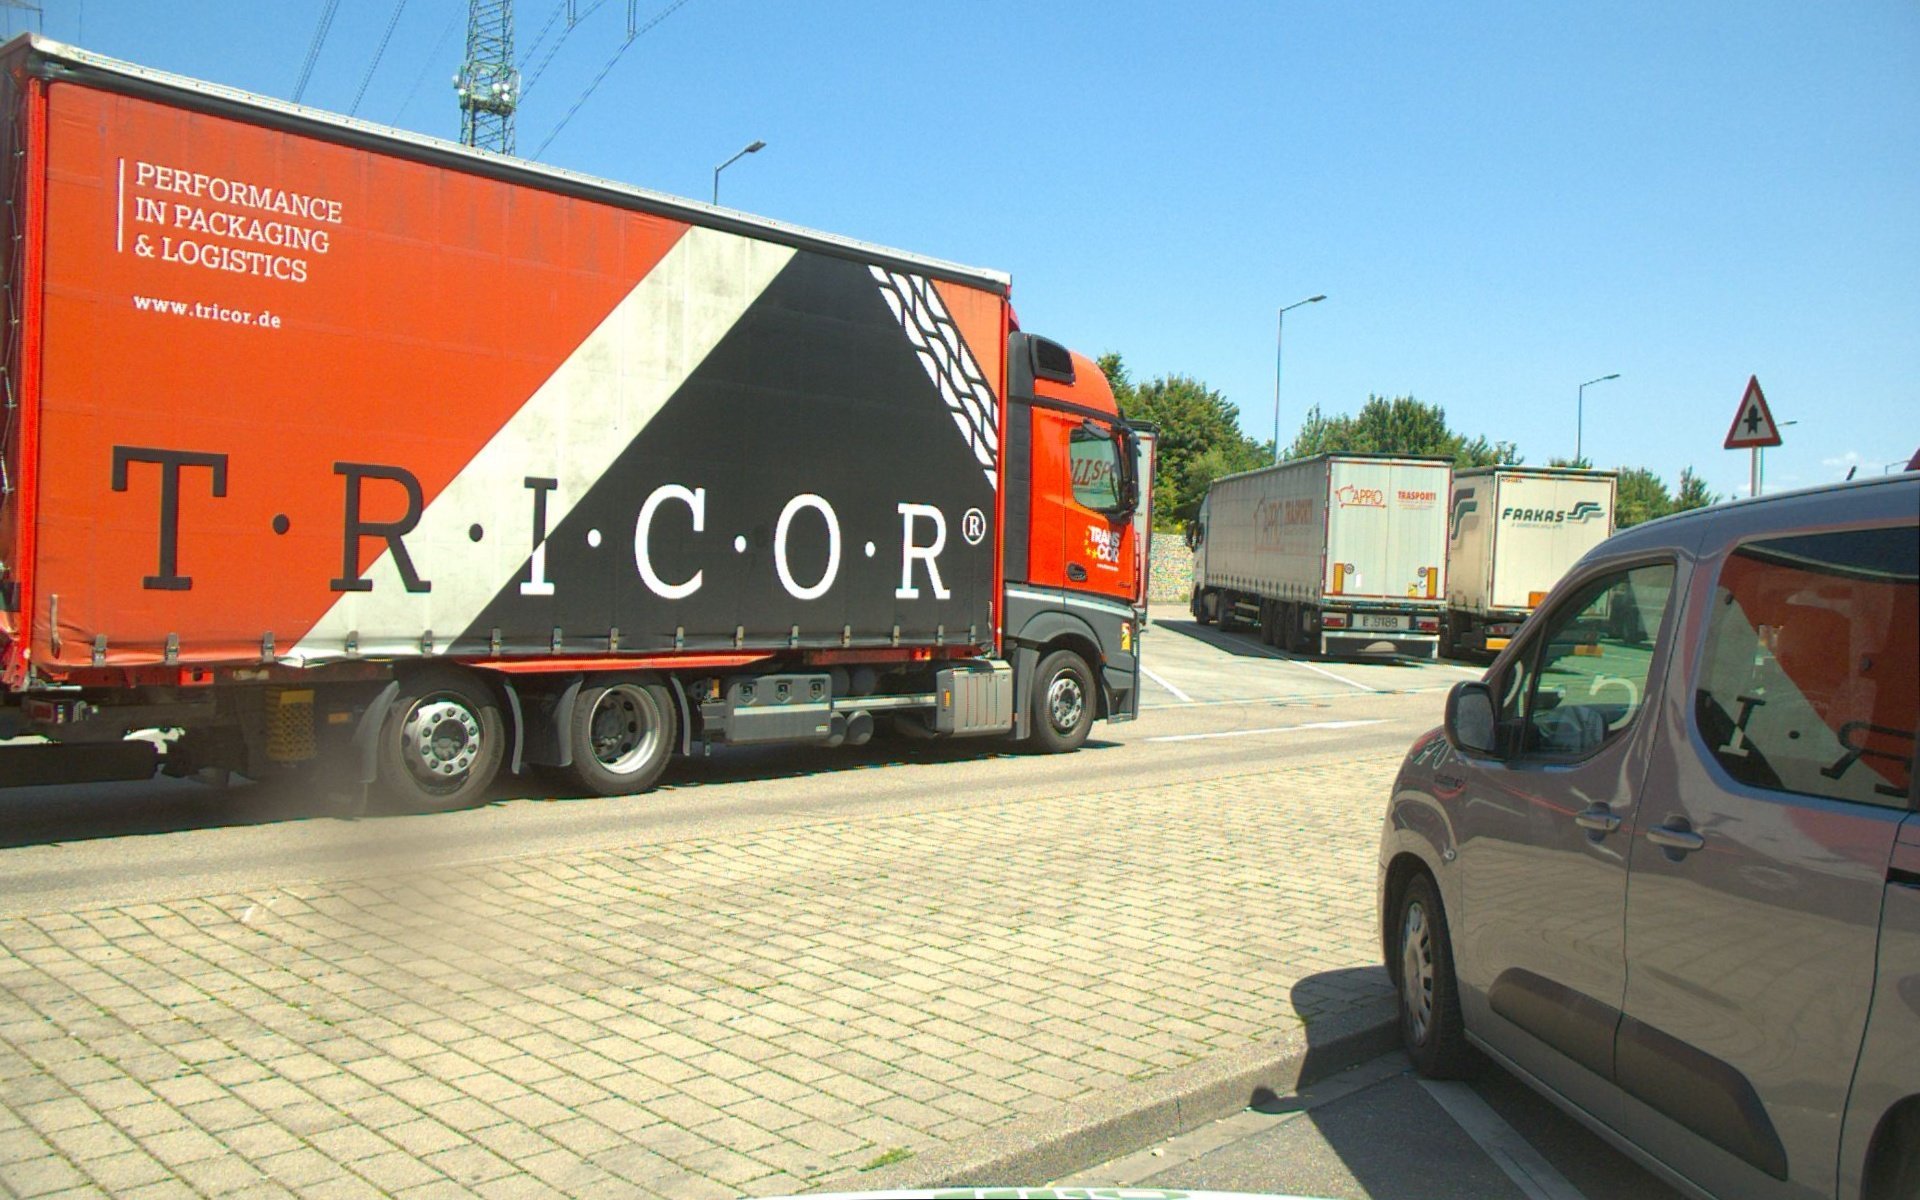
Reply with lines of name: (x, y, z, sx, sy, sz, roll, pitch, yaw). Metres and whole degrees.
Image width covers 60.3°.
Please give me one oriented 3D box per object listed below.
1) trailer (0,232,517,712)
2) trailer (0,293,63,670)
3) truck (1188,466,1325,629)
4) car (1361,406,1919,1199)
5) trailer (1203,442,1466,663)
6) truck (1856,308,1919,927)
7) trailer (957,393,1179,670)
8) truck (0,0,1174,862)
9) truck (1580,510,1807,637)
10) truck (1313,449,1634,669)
trailer: (-8.670, -1.255, 20.926, 2.694, 4.128, 13.284, 1, 1, -1)
trailer: (-12.400, -1.308, 15.459, 2.689, 4.337, 9.733, 1, 1, 0)
truck: (8.080, -1.414, 45.621, 2.701, 4.196, 5.283, 1, 1, -1)
car: (2.442, 0.554, 3.828, 1.790, 1.784, 3.997, 1, 1, -4)
trailer: (8.213, -1.053, 38.623, 2.818, 4.196, 13.569, 1, 1, -1)
truck: (4.989, 0.125, 4.949, 1.952, 2.669, 5.305, 1, 1, 3)
trailer: (1.707, -1.316, 32.690, 3.008, 4.301, 12.805, 2, 2, -2)
truck: (-2.425, -0.878, 12.543, 2.645, 4.199, 10.545, 1, 1, 41)
truck: (21.966, -0.816, 50.197, 2.963, 3.497, 8.529, 1, 1, -1)
truck: (11.725, -0.961, 40.006, 2.846, 4.195, 14.525, 3, 1, -1)
